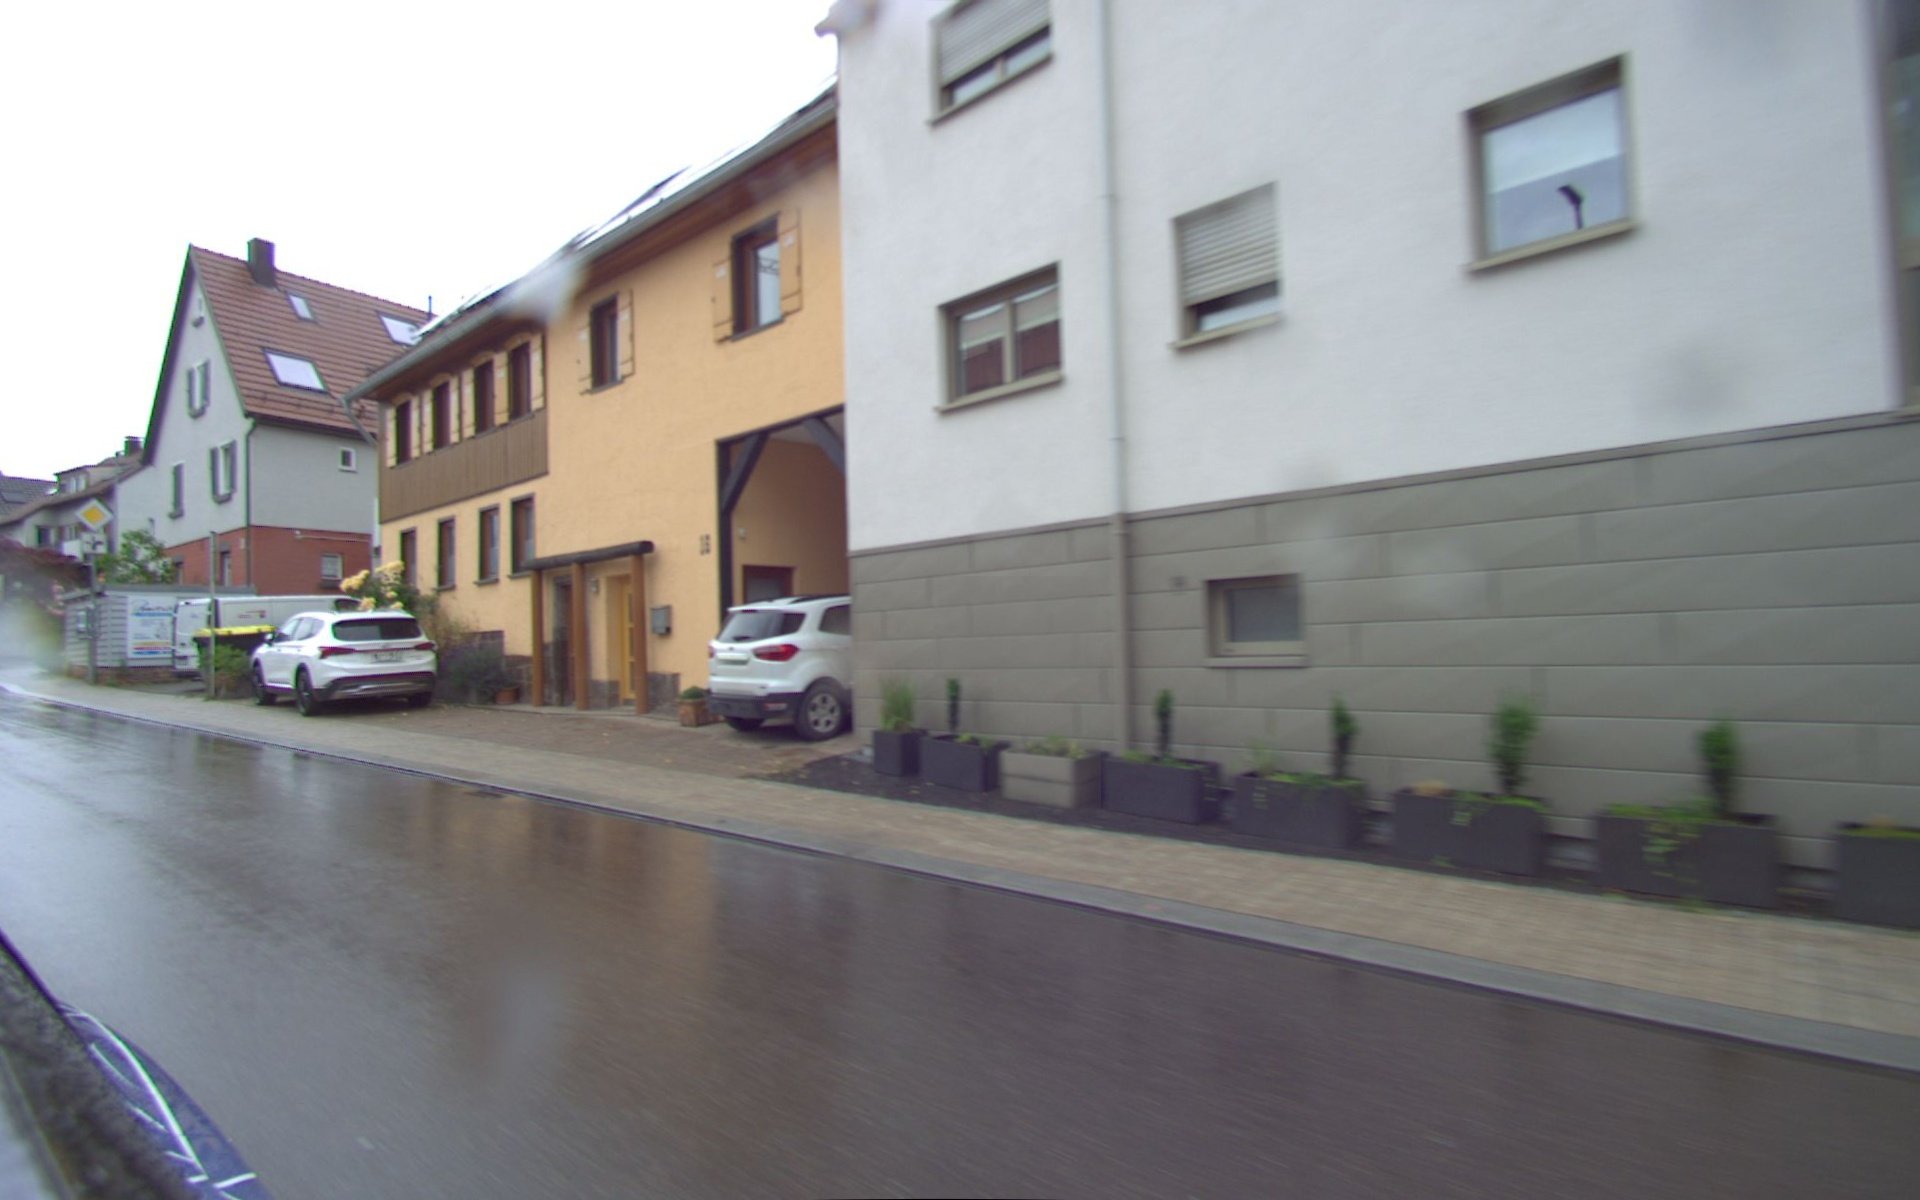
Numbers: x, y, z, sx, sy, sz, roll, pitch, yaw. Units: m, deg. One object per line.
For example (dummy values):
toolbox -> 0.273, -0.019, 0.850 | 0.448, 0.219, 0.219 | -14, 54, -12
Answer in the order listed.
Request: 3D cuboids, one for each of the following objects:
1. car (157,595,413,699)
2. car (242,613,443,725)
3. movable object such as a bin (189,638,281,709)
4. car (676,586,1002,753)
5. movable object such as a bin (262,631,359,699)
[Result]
car -> -15.501, 1.016, 23.513 | 1.992, 1.993, 4.478 | -4, 1, 30
car -> -10.896, 1.128, 17.717 | 4.616, 1.719, 1.794 | -2, -2, 42
movable object such as a bin -> -14.773, 1.468, 20.637 | 0.994, 1.378, 1.274 | -2, -2, 35
car -> -1.416, 0.762, 13.127 | 1.876, 1.682, 3.948 | -2, 1, 39
movable object such as a bin -> -14.080, 1.378, 21.964 | 0.994, 1.378, 1.493 | -2, -1, 35
